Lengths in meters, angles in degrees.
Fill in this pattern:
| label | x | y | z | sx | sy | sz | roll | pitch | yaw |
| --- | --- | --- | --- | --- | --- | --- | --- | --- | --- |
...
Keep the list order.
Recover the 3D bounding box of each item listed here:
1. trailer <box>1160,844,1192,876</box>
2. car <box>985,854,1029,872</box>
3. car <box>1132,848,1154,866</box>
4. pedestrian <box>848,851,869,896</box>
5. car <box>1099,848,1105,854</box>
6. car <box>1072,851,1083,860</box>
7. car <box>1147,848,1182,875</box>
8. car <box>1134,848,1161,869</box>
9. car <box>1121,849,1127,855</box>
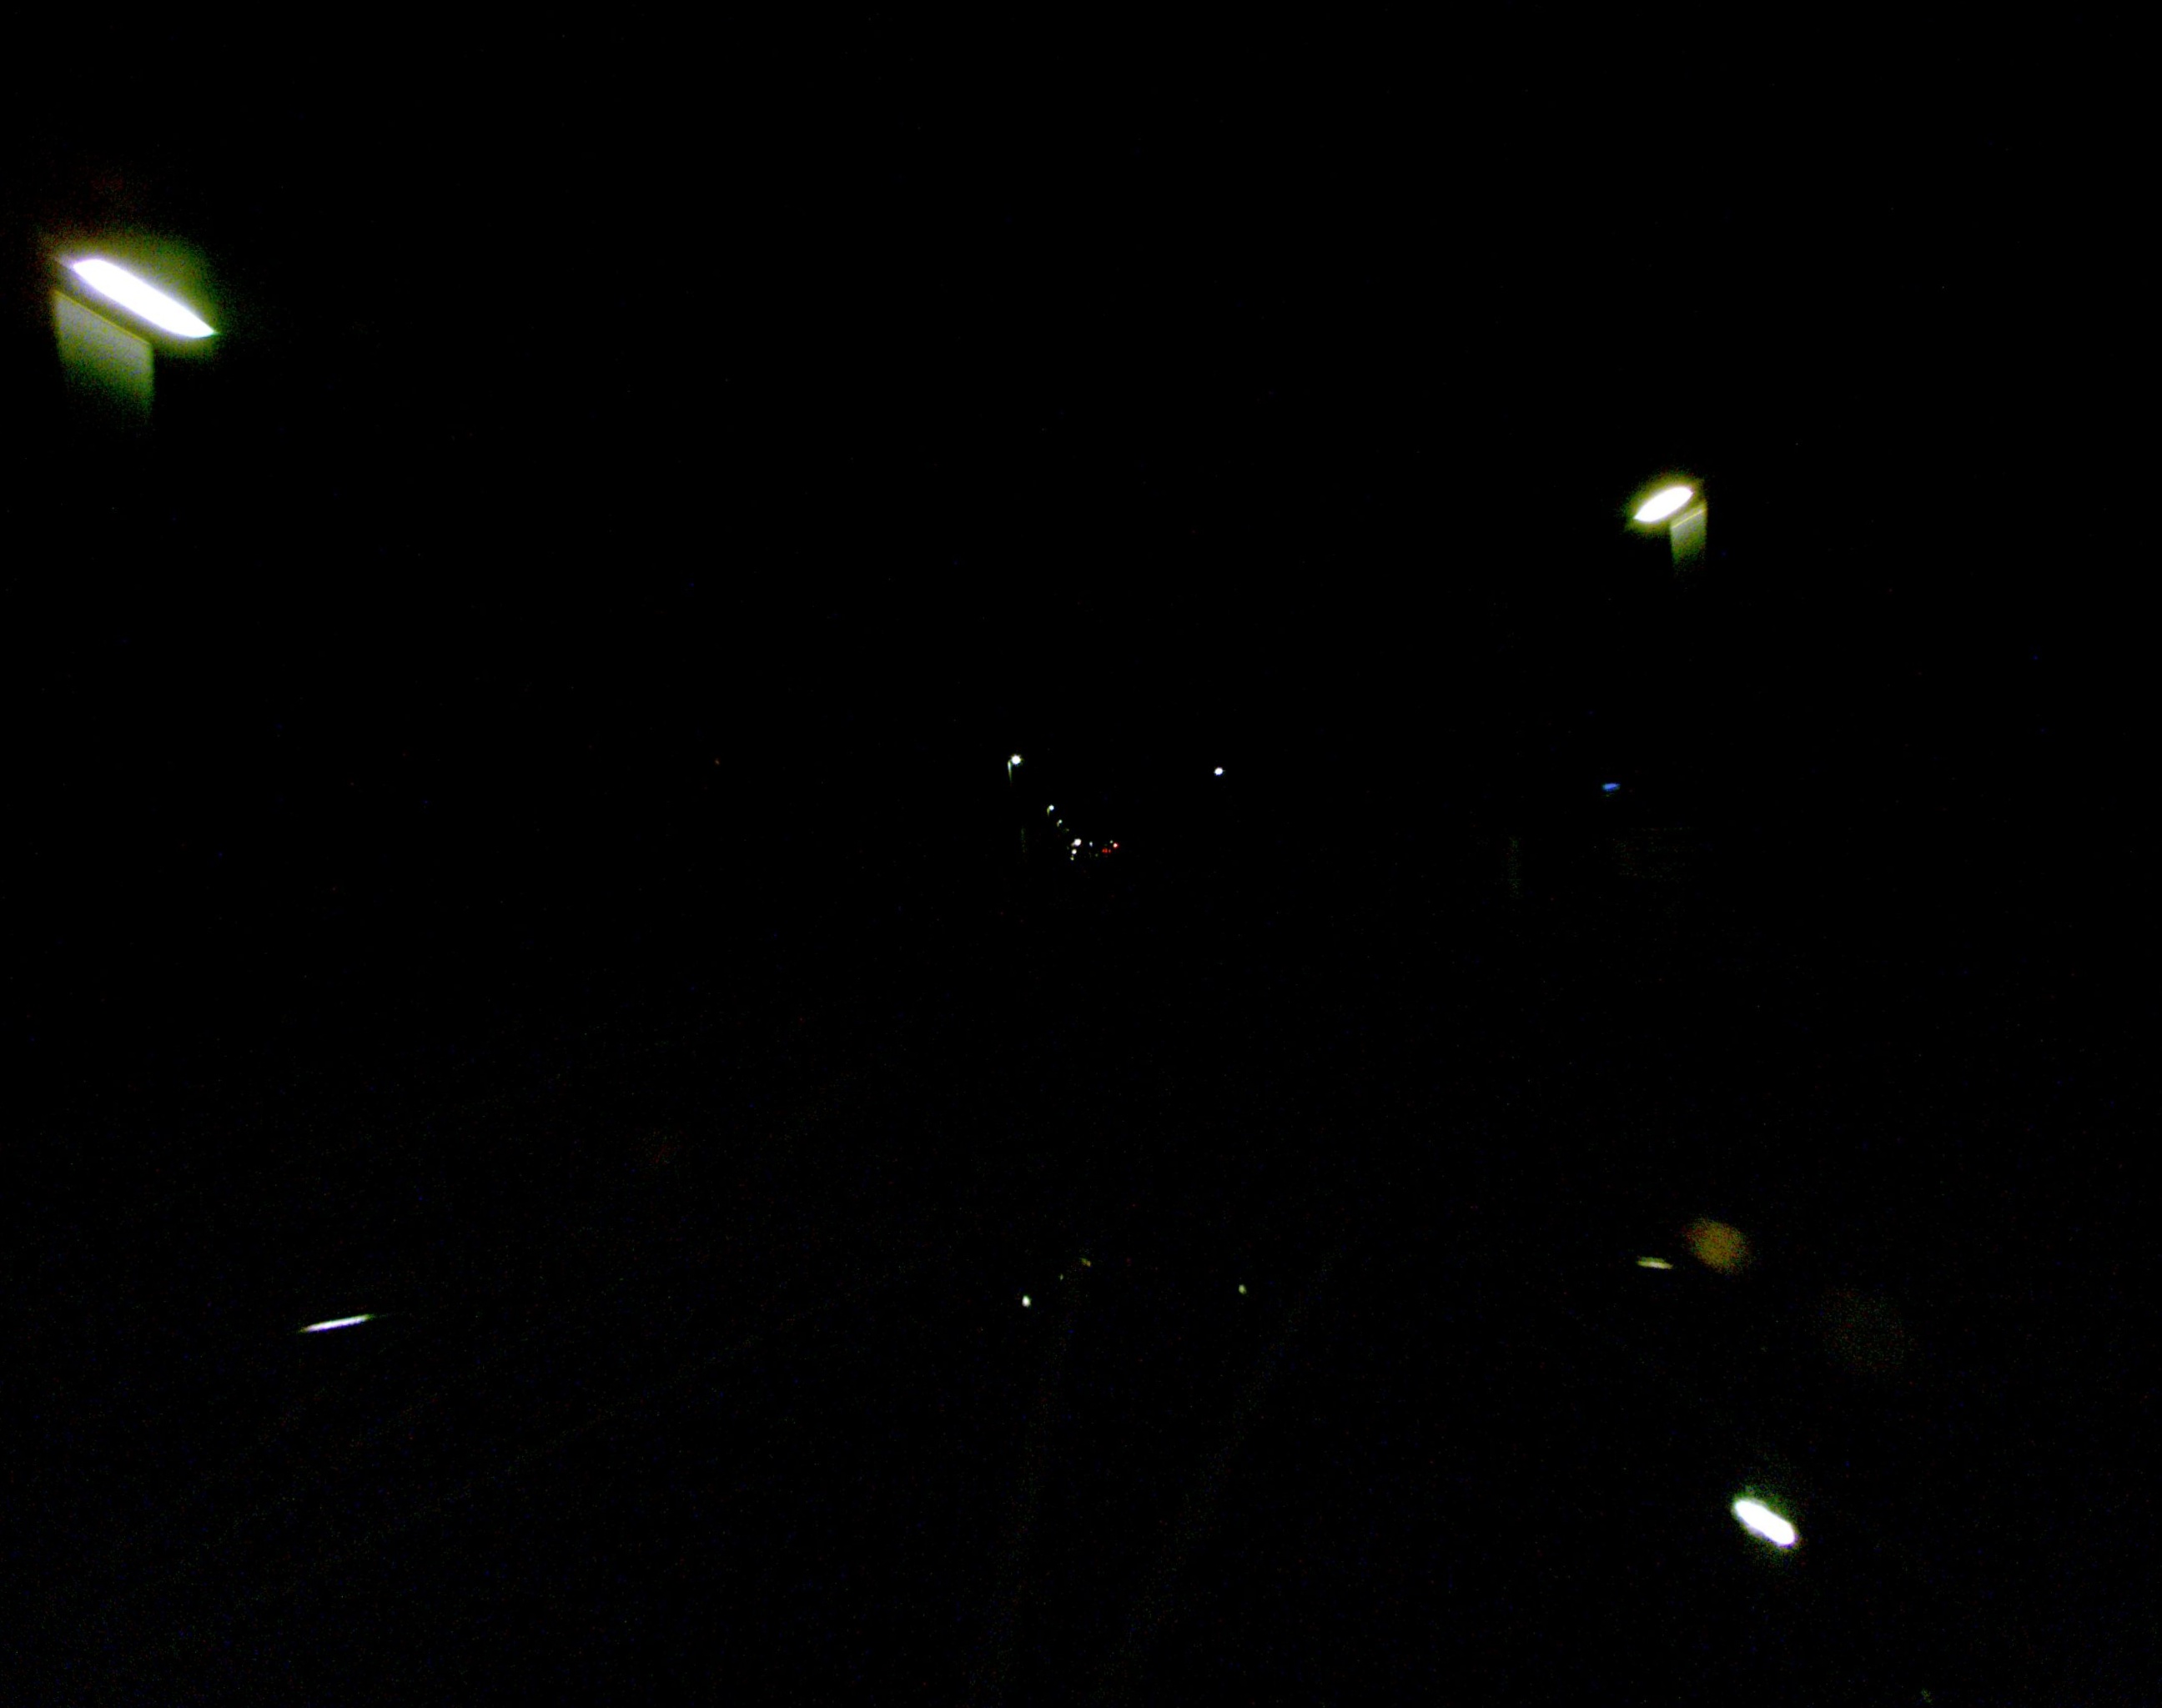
| label | x | y | z | sx | sy | sz | roll | pitch | yaw |
| --- | --- | --- | --- | --- | --- | --- | --- | --- | --- |
| trailer | 5.466 | 0.310 | 43.839 | 1.451 | 1.678 | 3.426 | -5 | 0 | 3 |
| car | -6.772 | 0.844 | 69.814 | 3.720 | 1.464 | 1.730 | -3 | 1 | 3 |
| car | 5.589 | 0.287 | 68.746 | 1.692 | 1.501 | 4.278 | -3 | 0 | 1 |
| pedestrian | -9.661 | 0.856 | 33.042 | 0.647 | 1.926 | 0.773 | -1 | 1 | 1 |
| car | 6.340 | -0.922 | 231.463 | 1.606 | 1.474 | 3.699 | -2 | 0 | 1 |
| car | -0.549 | 0.226 | 128.784 | 1.747 | 1.560 | 4.209 | -2 | 0 | 2 |
| car | 5.129 | 0.453 | 47.093 | 1.675 | 1.513 | 2.978 | -5 | 0 | -1 |
| car | 5.276 | 0.318 | 60.890 | 1.771 | 1.510 | 4.278 | -4 | 0 | 1 |
| car | 13.355 | -0.738 | 236.908 | 1.814 | 1.637 | 3.804 | -4 | 0 | 3 |
